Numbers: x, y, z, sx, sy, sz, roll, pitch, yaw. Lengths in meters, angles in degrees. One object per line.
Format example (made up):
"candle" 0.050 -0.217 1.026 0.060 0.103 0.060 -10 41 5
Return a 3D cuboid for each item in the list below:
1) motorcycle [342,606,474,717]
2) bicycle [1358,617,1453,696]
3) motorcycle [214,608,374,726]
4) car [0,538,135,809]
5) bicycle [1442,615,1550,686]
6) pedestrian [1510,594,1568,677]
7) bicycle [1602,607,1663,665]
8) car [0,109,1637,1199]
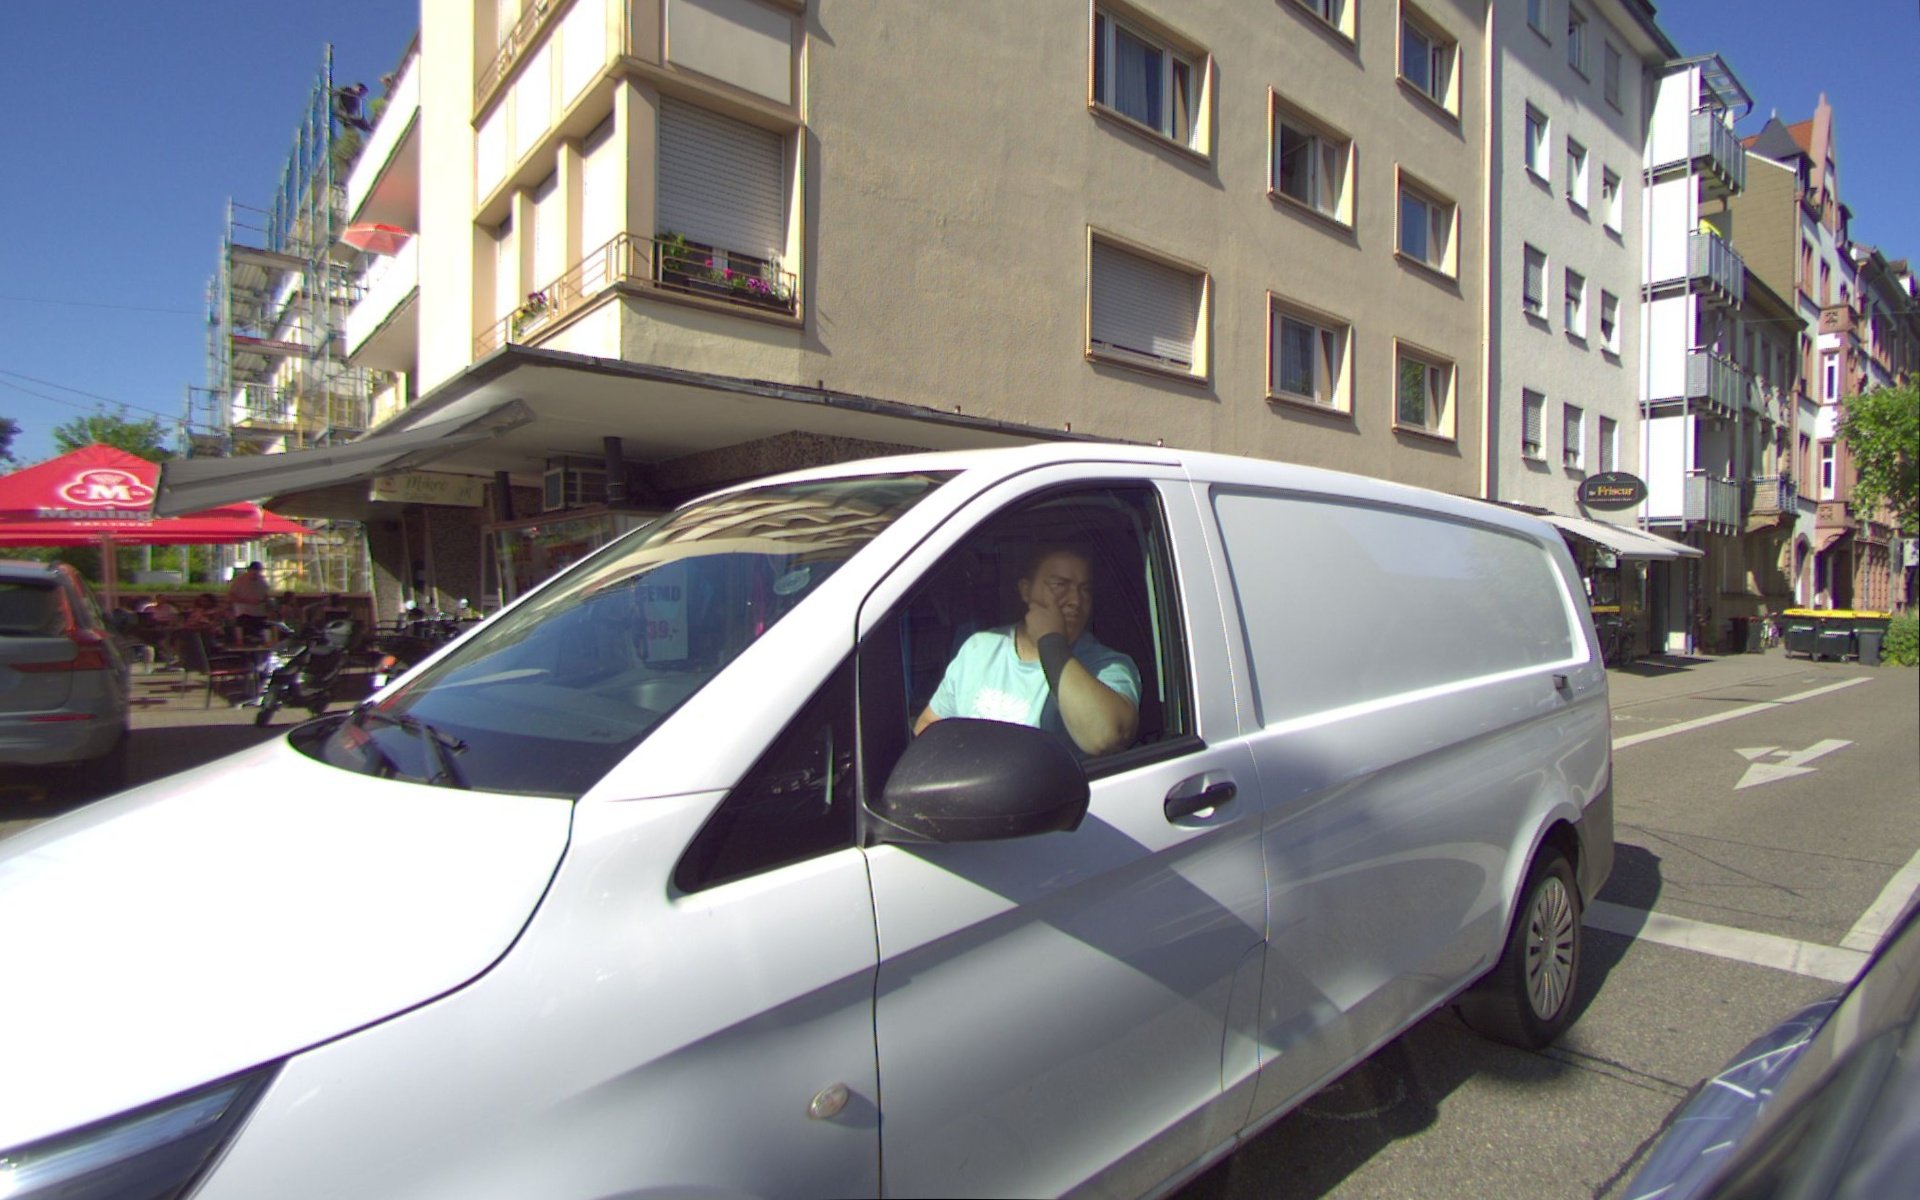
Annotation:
"motorcycle" -6.544 0.686 12.116 0.556 1.181 2.015 0 0 -3
"bicycle" 6.729 0.822 15.258 1.766 1.098 0.408 0 3 -35
"motorcycle" -7.438 0.696 11.423 0.556 1.181 2.015 0 0 -3
"car" -7.414 0.431 7.667 1.793 1.683 3.996 0 1 -39
"bicycle" 8.974 0.825 16.998 1.475 1.120 0.719 1 0 18
"pedestrian" 10.505 0.624 18.367 0.615 1.460 0.774 0 0 -45
"bicycle" 14.599 0.762 21.960 1.742 1.157 0.598 0 3 -40
"car" 0.131 0.488 2.973 4.749 1.833 1.971 0 1 -42
